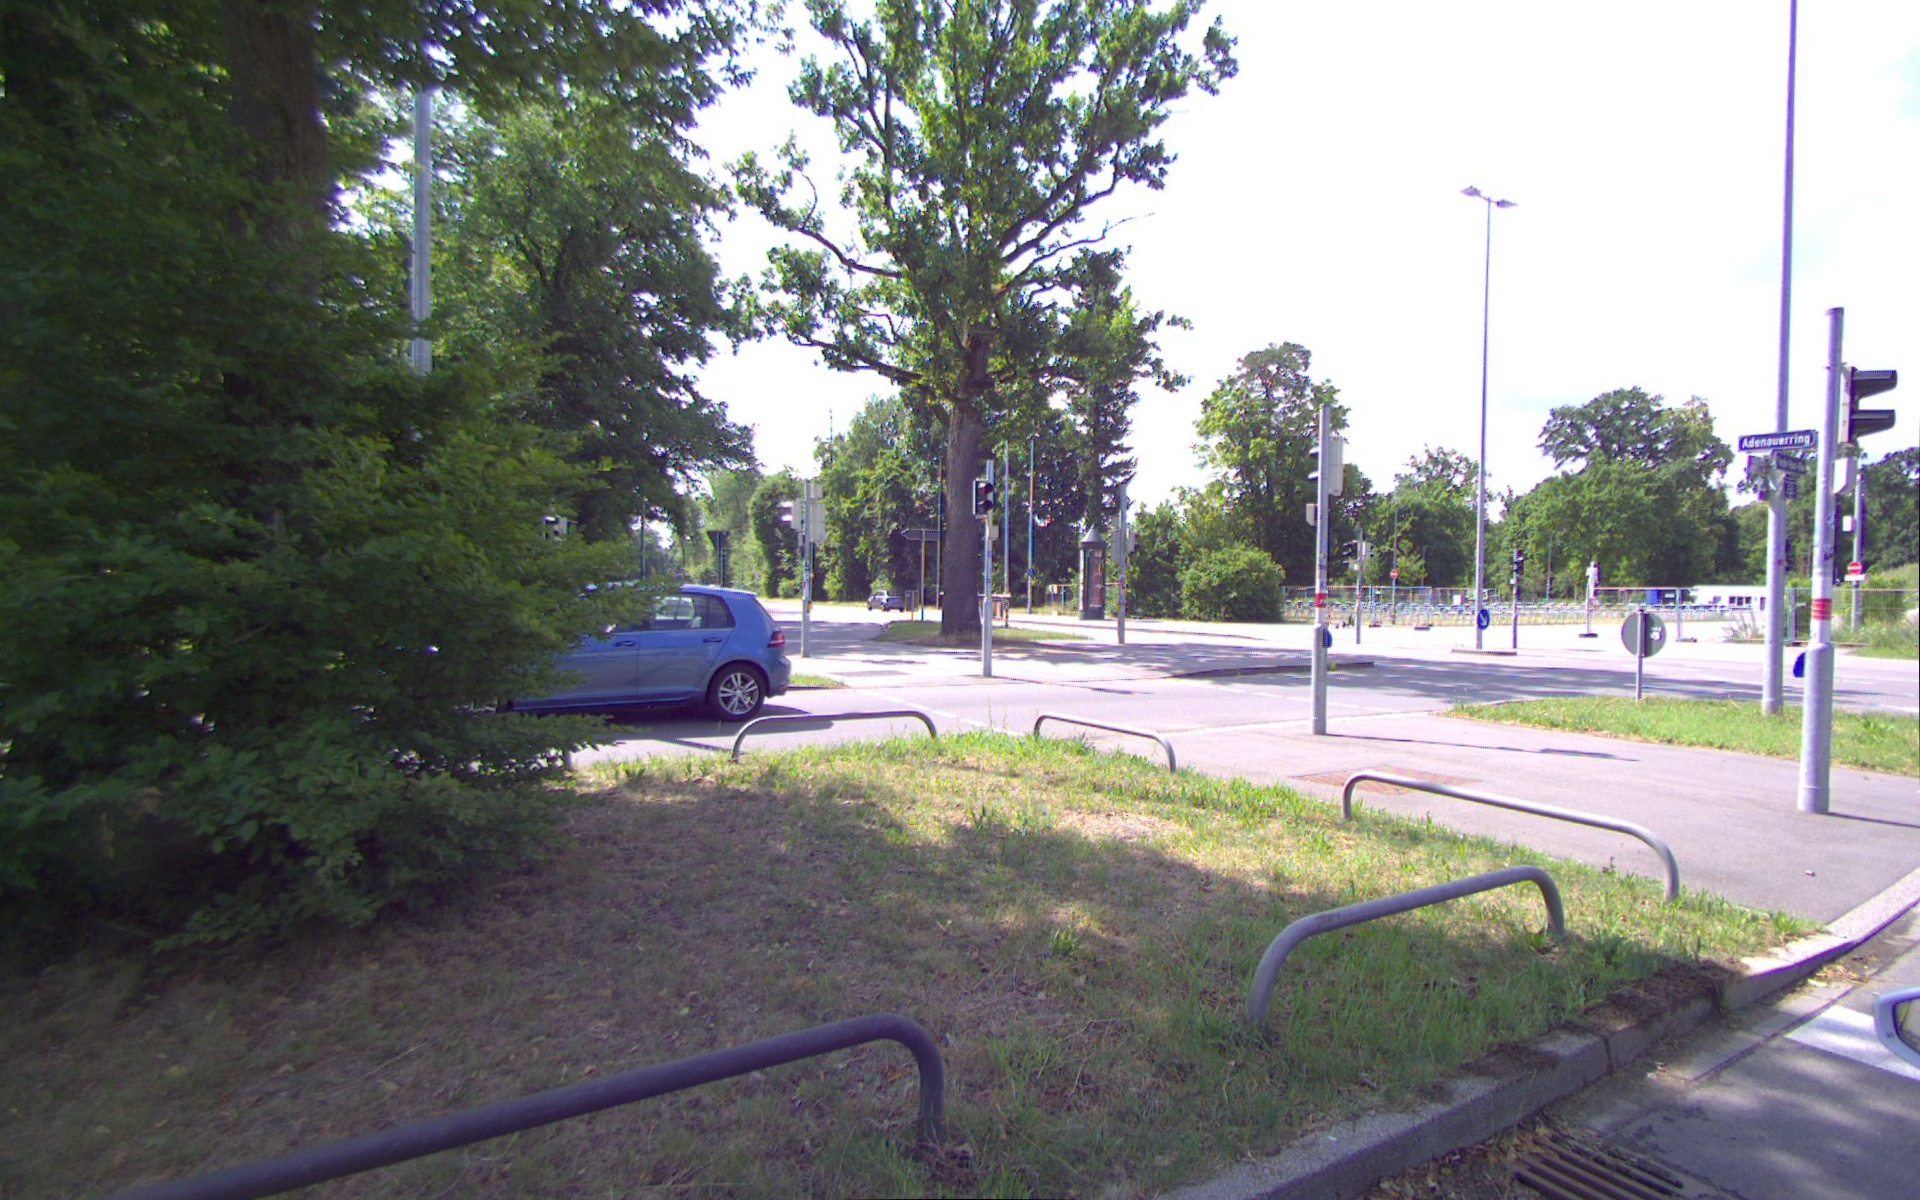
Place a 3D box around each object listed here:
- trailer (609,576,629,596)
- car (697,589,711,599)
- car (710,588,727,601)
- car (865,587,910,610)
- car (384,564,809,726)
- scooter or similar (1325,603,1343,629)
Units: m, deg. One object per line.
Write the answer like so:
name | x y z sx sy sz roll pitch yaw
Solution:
trailer | -42.634 -1.743 125.696 1.972 2.420 3.976 2 0 -24
car | -42.248 -1.007 165.782 1.810 1.514 4.088 2 0 -20
car | -32.529 -0.733 135.254 1.689 1.714 3.698 2 0 -20
car | -5.179 -0.120 71.318 1.847 1.529 4.021 2 0 -25
car | -3.837 0.441 10.824 4.017 1.466 1.687 2 2 -29
scooter or similar | 18.341 0.776 49.289 0.399 1.216 1.312 0 1 0
